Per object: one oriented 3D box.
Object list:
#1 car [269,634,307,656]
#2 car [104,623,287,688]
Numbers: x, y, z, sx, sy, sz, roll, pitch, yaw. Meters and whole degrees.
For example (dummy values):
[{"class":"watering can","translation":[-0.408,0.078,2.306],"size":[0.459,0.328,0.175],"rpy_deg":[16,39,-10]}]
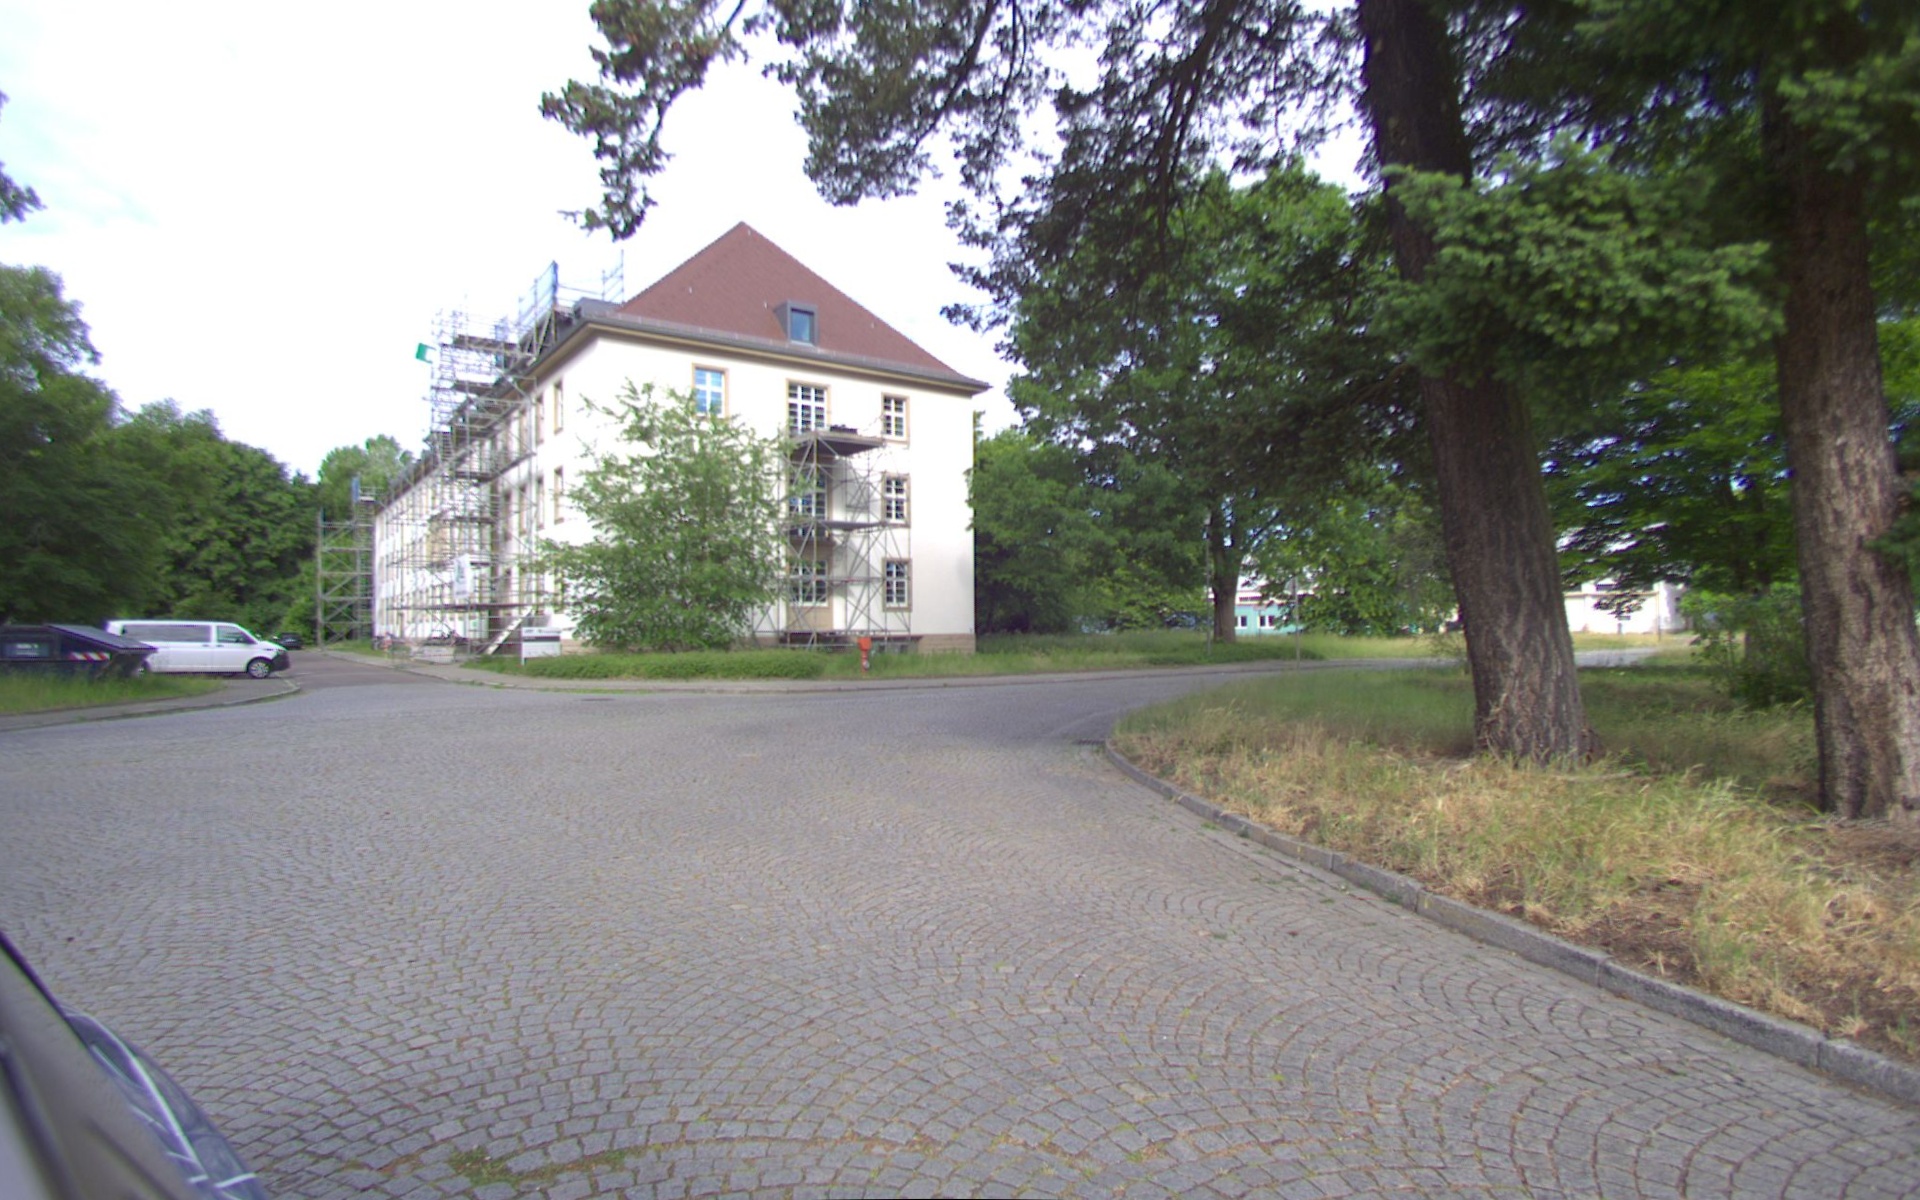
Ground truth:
[{"class":"car","translation":[-60.728,4.094,91.473],"size":[4.000,1.941,1.999],"rpy_deg":[-3,-3,43]},{"class":"car","translation":[-25.944,1.832,34.492],"size":[4.840,2.010,2.004],"rpy_deg":[1,-2,-39]}]
